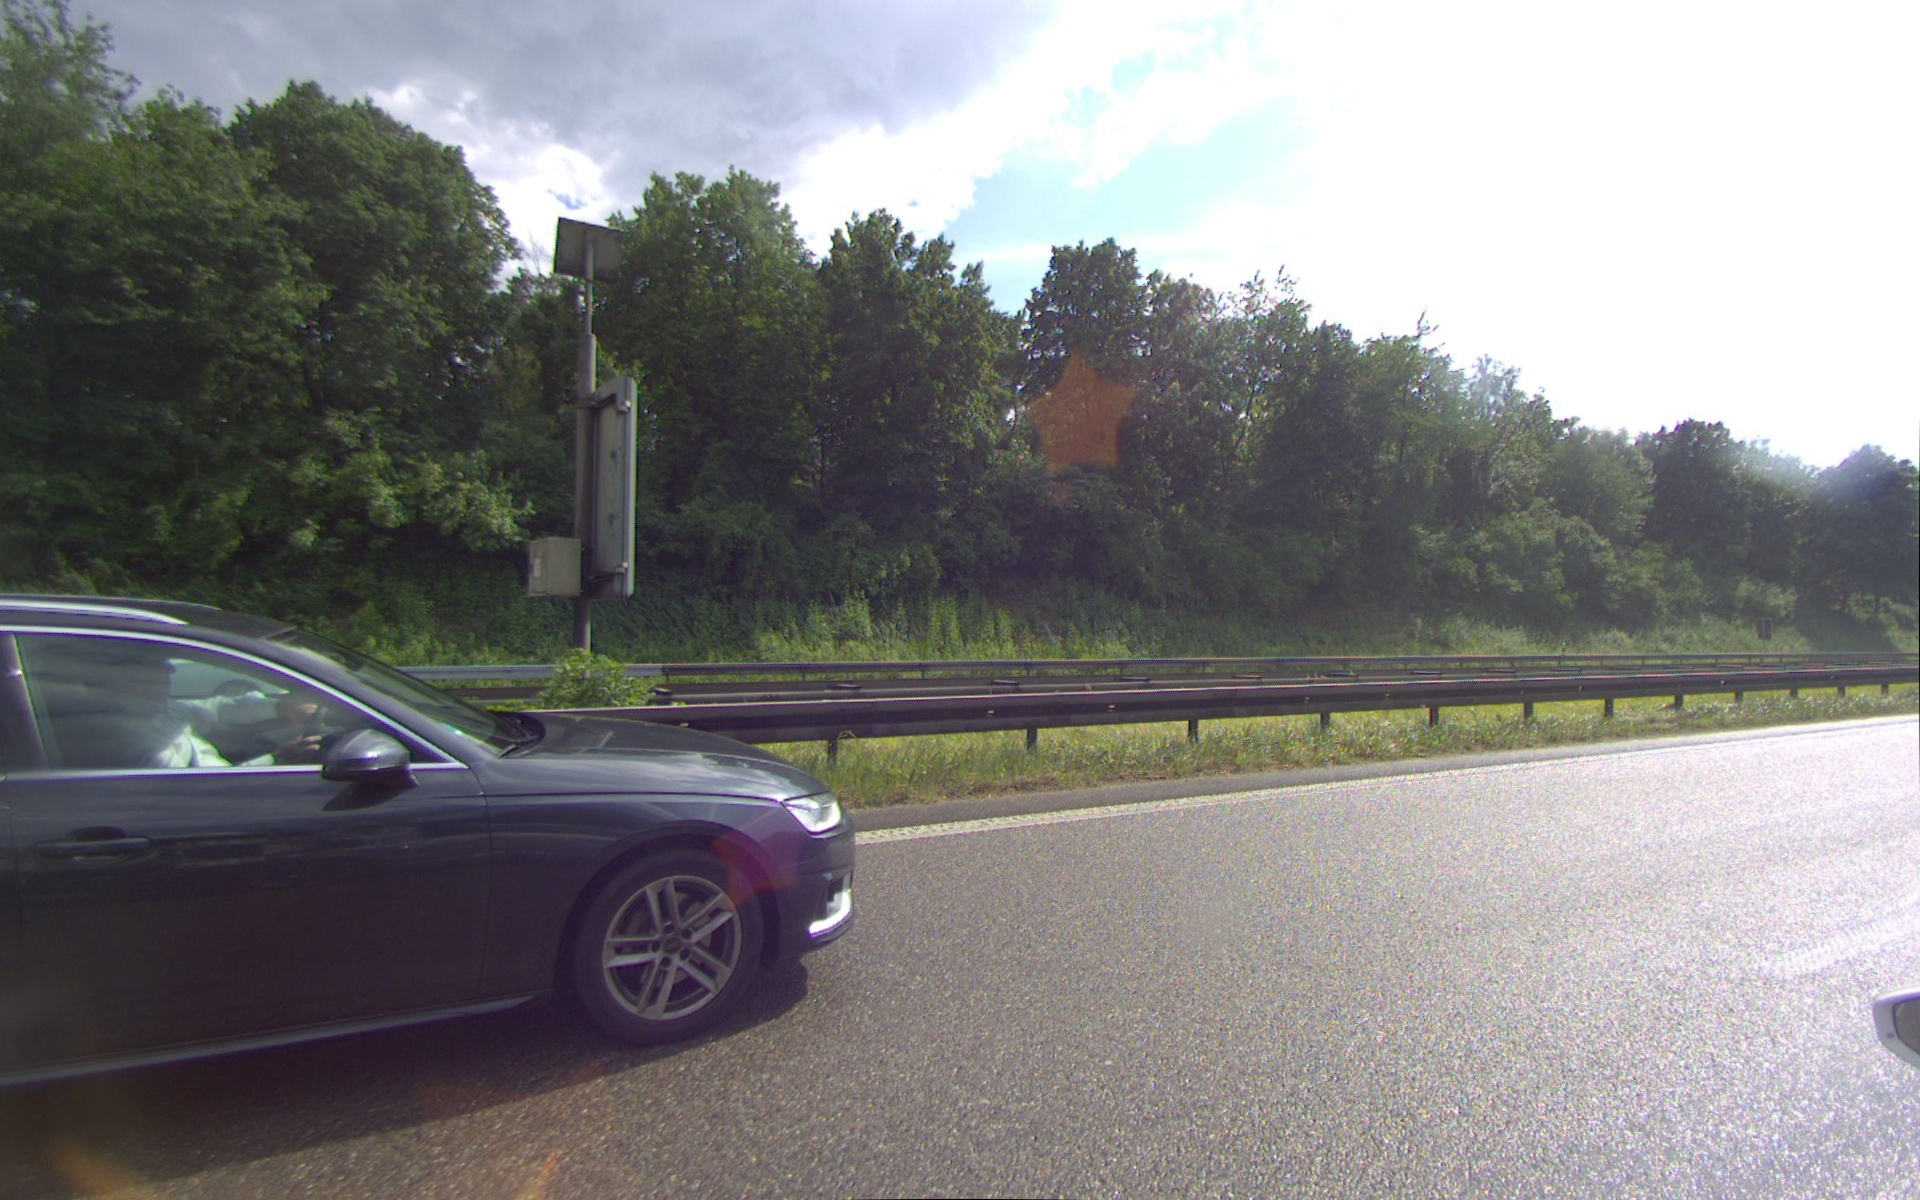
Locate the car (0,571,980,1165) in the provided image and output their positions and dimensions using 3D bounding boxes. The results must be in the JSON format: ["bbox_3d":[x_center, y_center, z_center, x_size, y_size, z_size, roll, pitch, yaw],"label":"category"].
[{"bbox_3d":[-2.437,0.649,3.390,4.782,1.437,1.785,2,0,-30],"label":"car"}]

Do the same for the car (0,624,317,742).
[{"bbox_3d":[-13.044,1.283,16.403,4.188,1.685,1.722,2,0,-31],"label":"car"}]
